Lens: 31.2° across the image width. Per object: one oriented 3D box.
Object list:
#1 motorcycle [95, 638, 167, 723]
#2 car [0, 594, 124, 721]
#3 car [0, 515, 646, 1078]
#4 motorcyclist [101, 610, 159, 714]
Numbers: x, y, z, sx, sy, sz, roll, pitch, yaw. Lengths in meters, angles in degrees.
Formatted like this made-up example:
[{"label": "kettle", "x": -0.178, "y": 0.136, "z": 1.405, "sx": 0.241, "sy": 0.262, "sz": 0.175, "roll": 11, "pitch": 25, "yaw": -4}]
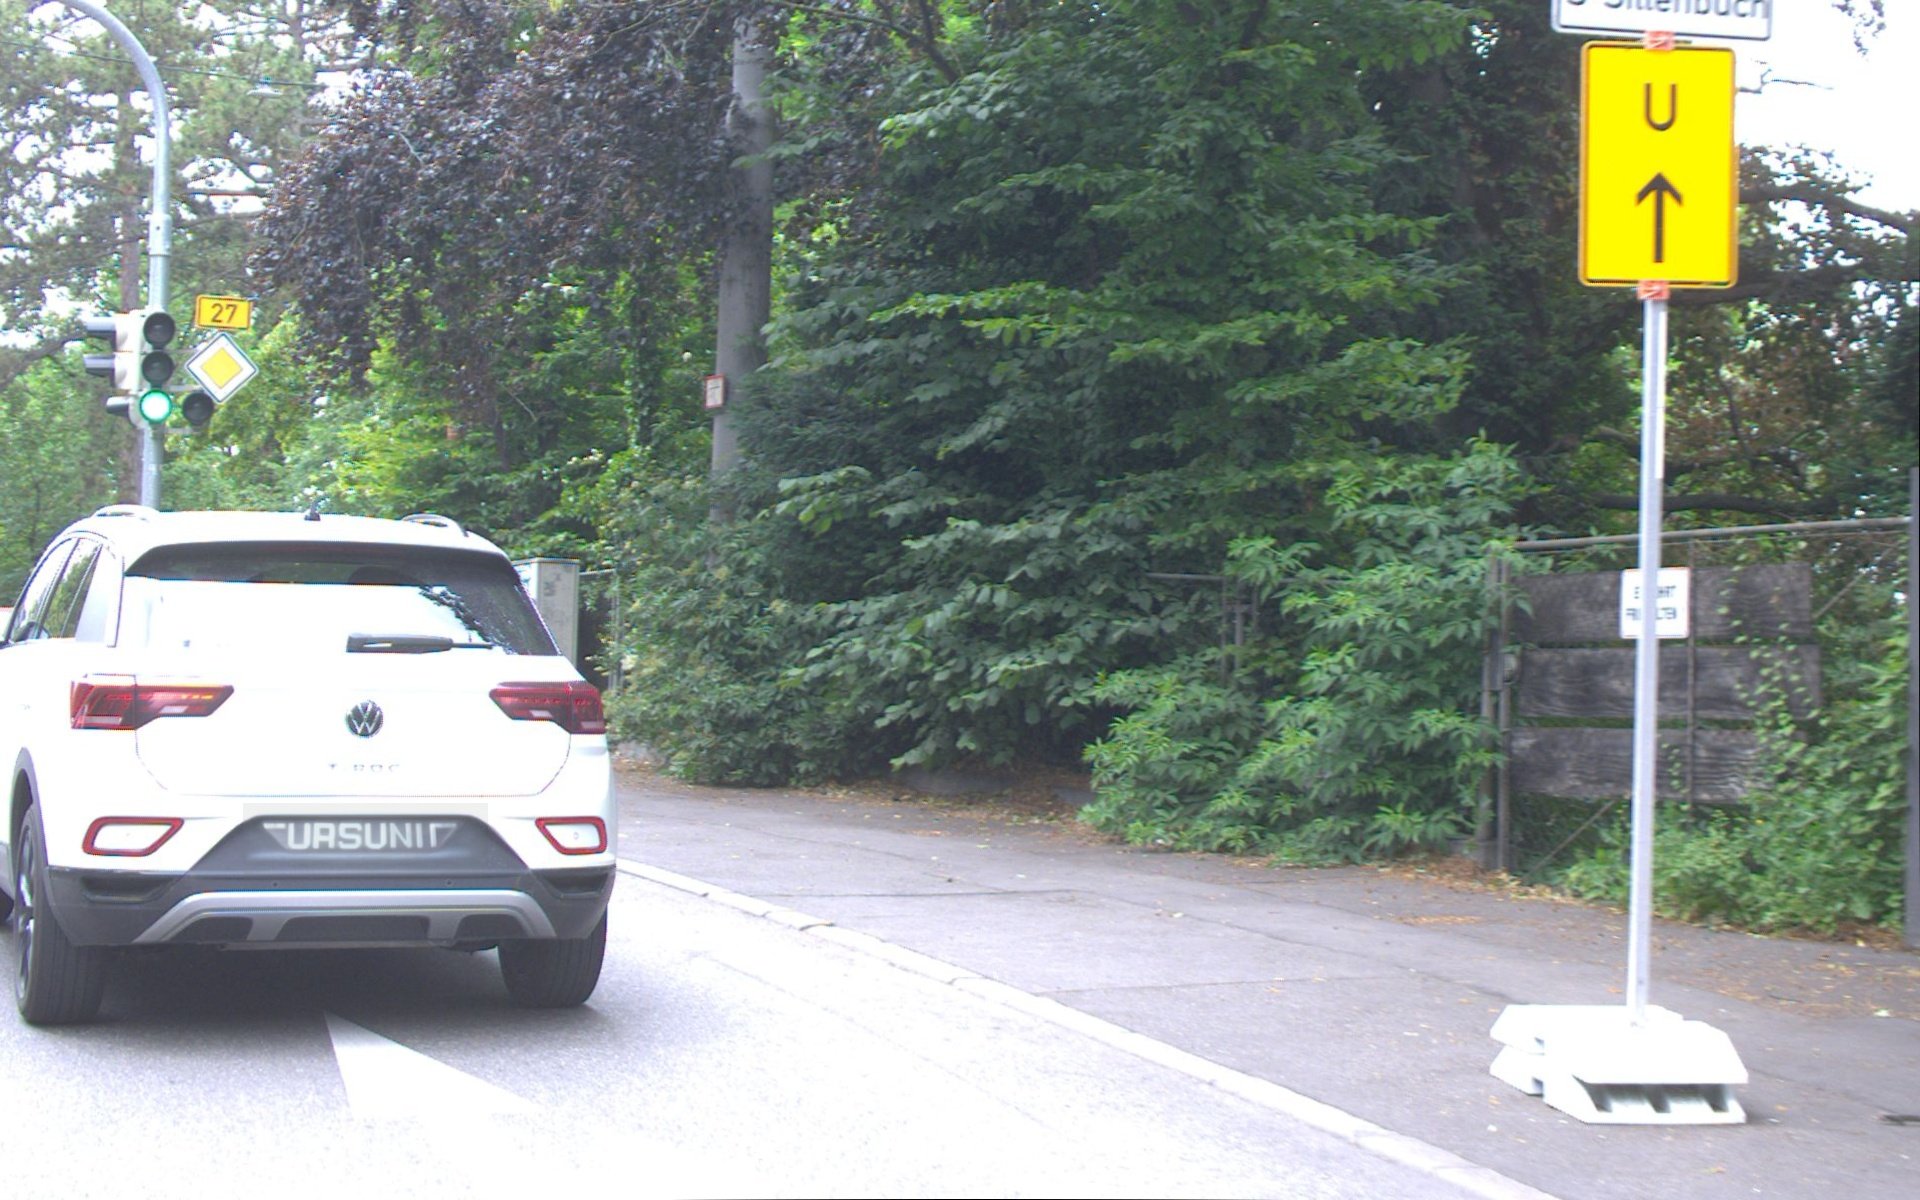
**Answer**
[{"label": "motorcycle", "x": -11.463, "y": 1.106, "z": 47.560, "sx": 0.599, "sy": 1.148, "sz": 1.581, "roll": 1, "pitch": -1, "yaw": 0}, {"label": "car", "x": -11.833, "y": 0.743, "z": 42.901, "sx": 1.667, "sy": 1.463, "sz": 3.954, "roll": 1, "pitch": -3, "yaw": 2}, {"label": "car", "x": -2.485, "y": 0.492, "z": 11.800, "sx": 1.754, "sy": 1.547, "sz": 4.339, "roll": -1, "pitch": 1, "yaw": -20}, {"label": "motorcyclist", "x": -11.469, "y": 0.854, "z": 47.516, "sx": 0.599, "sy": 1.425, "sz": 0.757, "roll": 1, "pitch": -1, "yaw": 0}]
